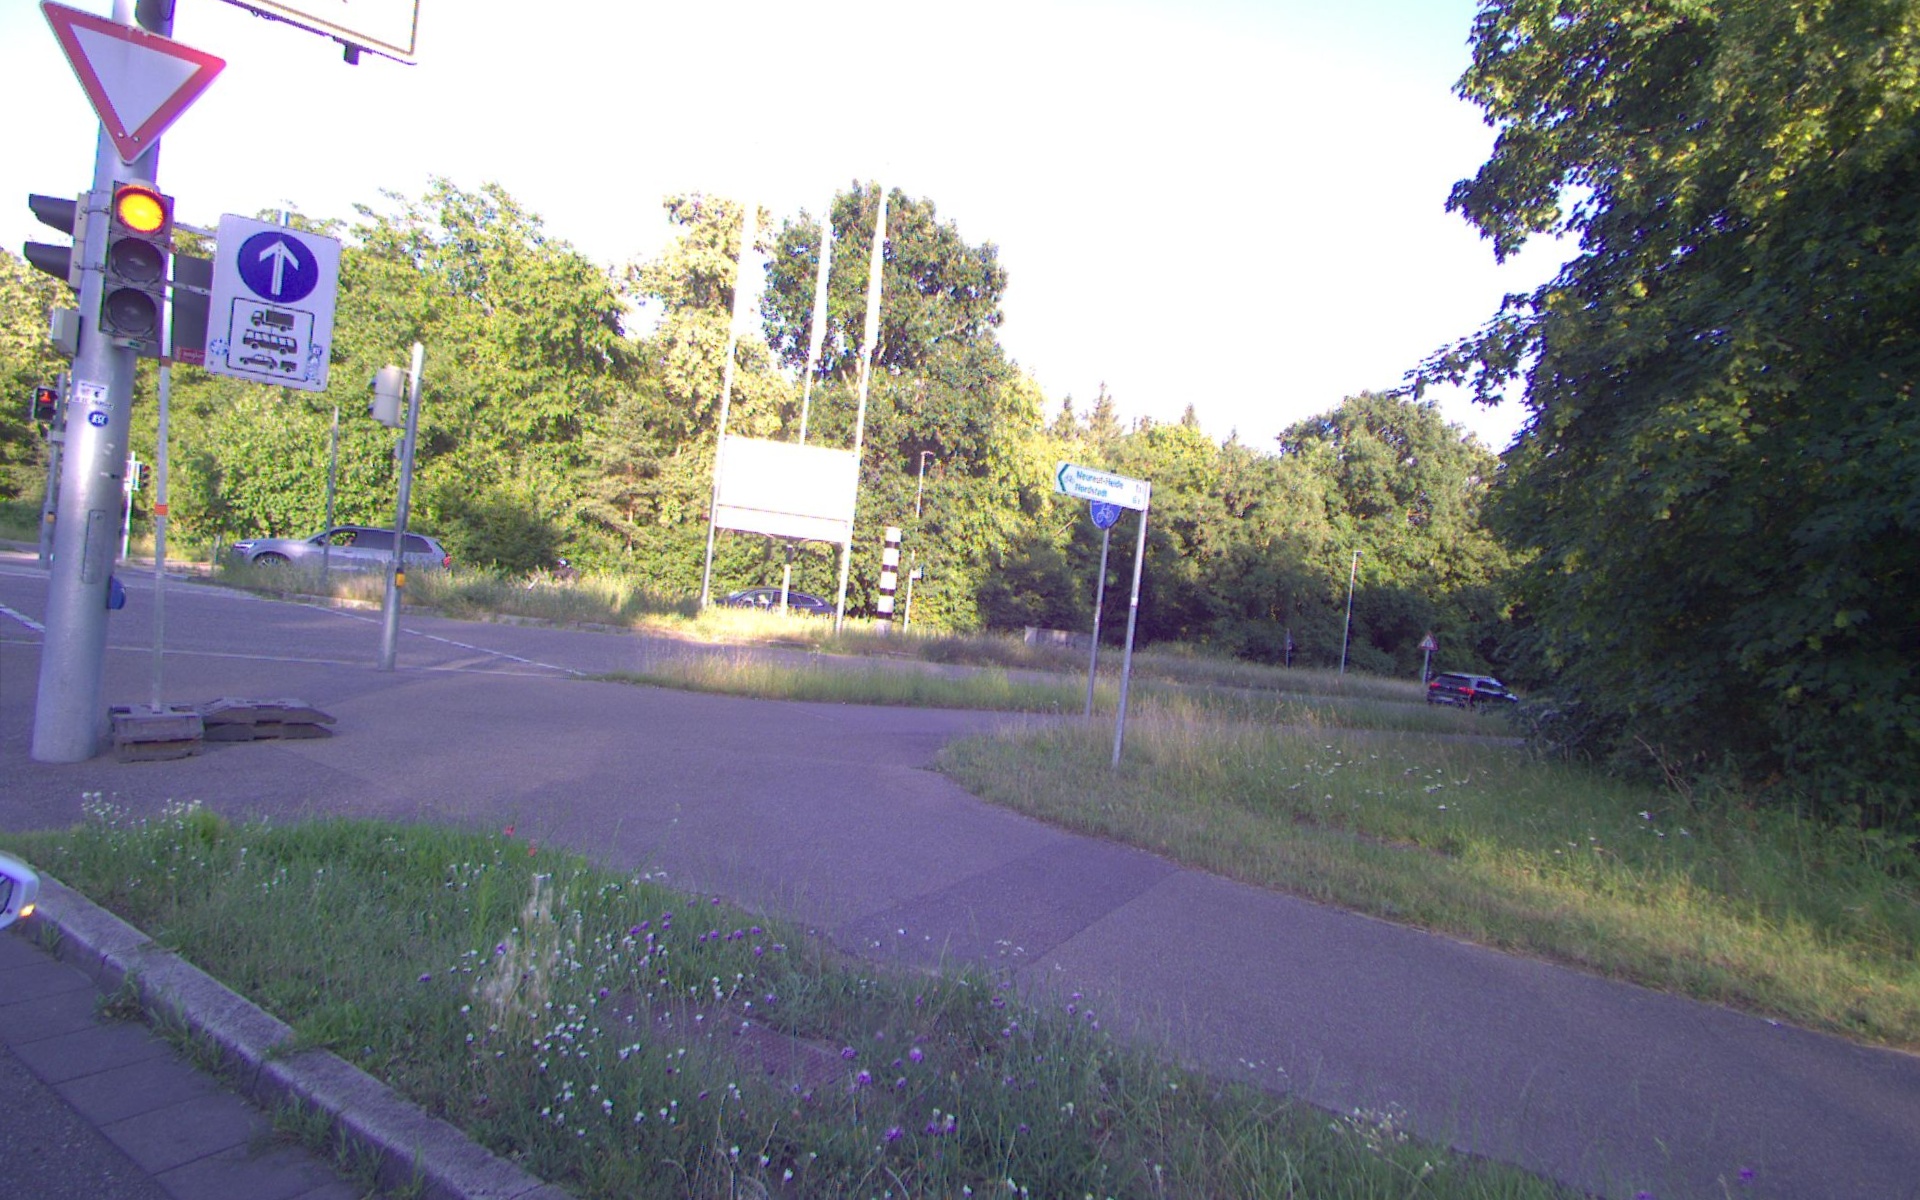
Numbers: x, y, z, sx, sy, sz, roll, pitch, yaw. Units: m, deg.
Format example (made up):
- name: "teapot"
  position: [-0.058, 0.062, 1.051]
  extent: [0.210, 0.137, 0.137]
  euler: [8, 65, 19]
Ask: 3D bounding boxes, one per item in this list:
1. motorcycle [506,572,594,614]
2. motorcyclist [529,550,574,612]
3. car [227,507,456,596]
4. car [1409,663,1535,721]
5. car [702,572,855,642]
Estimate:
- name: "motorcycle"
  position: [-11.419, -0.192, 28.057]
  extent: [2.133, 0.921, 0.655]
  euler: [7, 0, -37]
- name: "motorcyclist"
  position: [-11.380, -0.533, 28.048]
  extent: [0.881, 1.614, 0.648]
  euler: [6, 0, -37]
- name: "car"
  position: [-15.915, -1.210, 25.998]
  extent: [4.790, 1.618, 1.980]
  euler: [7, 0, -37]
- name: "car"
  position: [18.265, 3.295, 35.823]
  extent: [4.635, 1.548, 1.981]
  euler: [7, -1, -35]
- name: "car"
  position: [-5.184, 0.207, 28.843]
  extent: [3.840, 1.507, 1.754]
  euler: [7, -1, -36]
